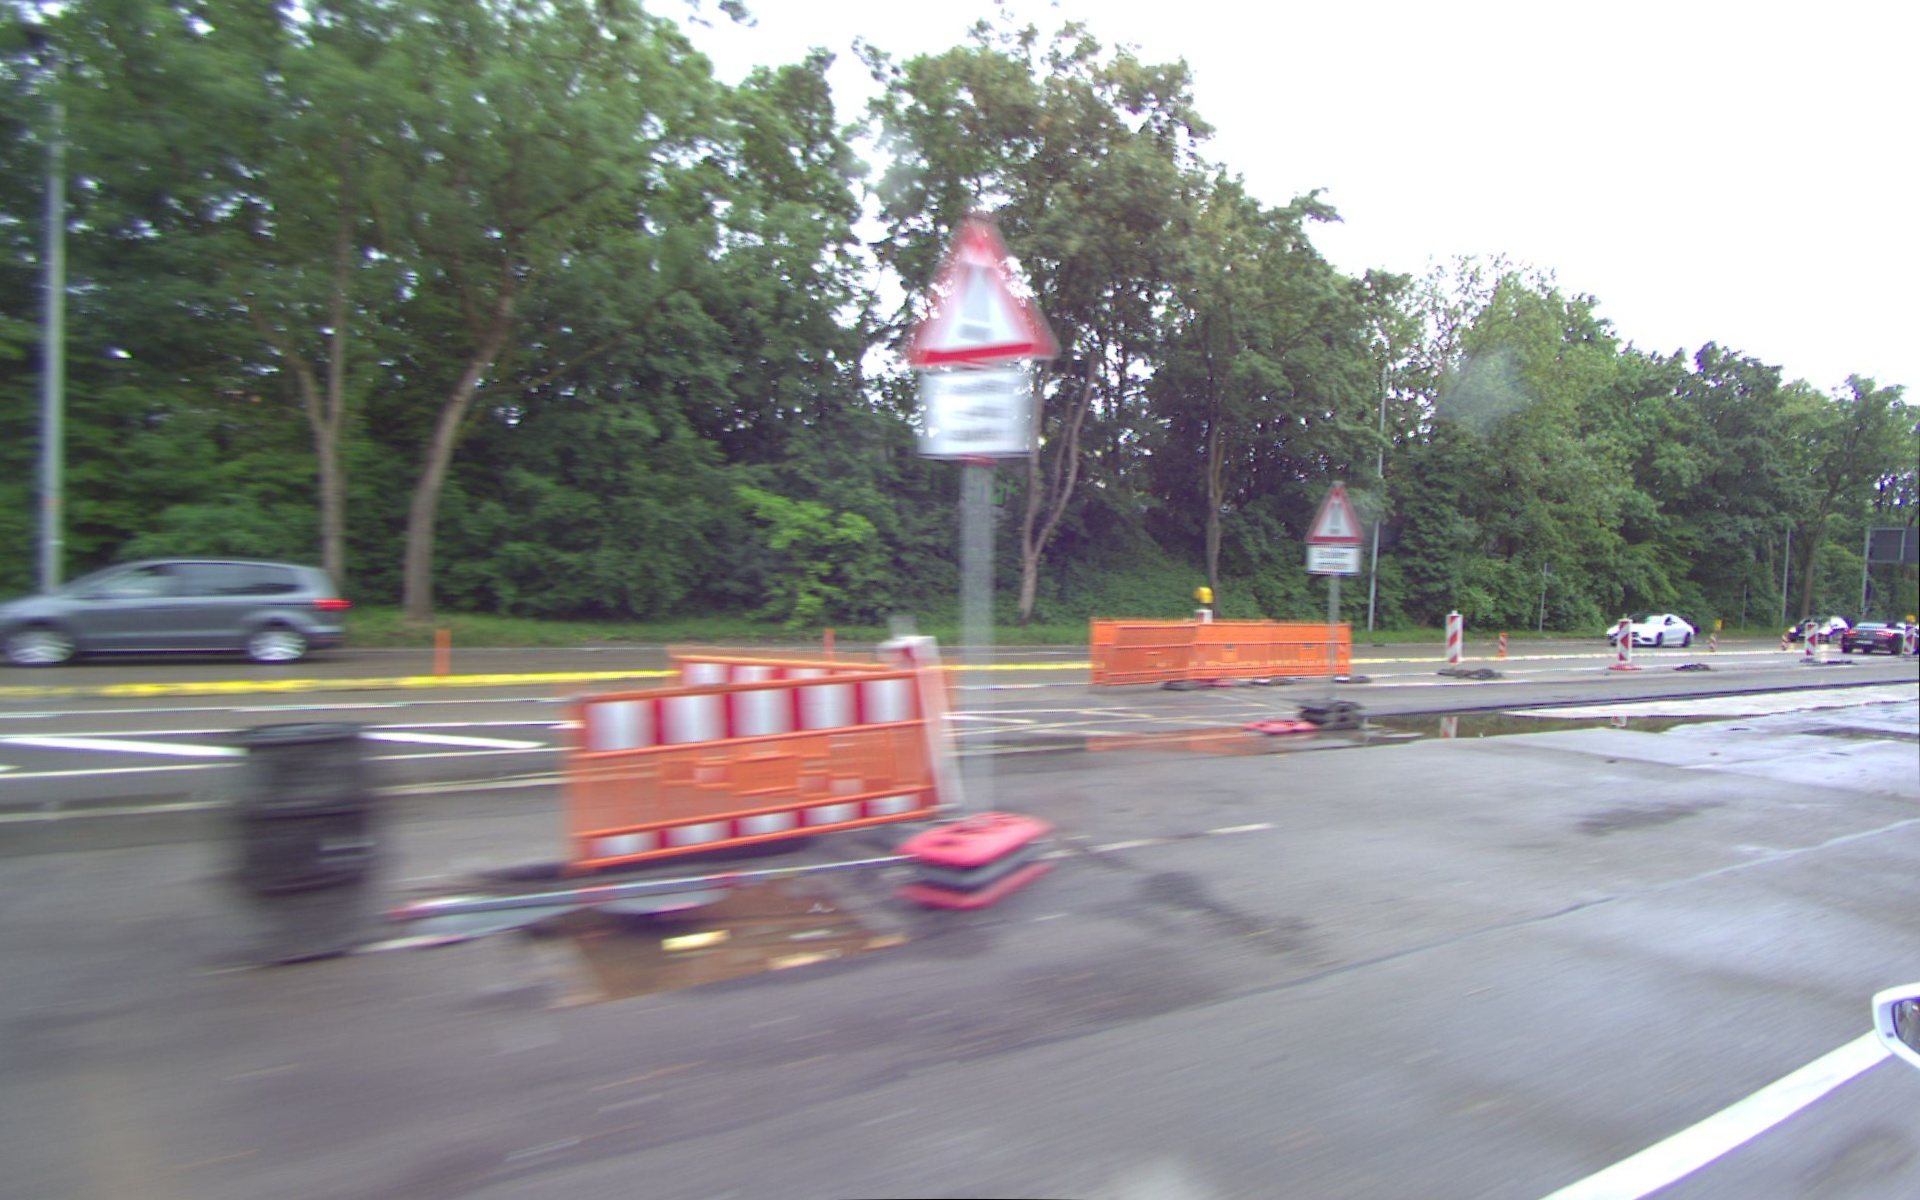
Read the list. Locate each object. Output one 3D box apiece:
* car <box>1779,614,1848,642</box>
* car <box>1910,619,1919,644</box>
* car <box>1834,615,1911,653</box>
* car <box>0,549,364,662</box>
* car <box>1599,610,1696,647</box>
[{"bbox_3d":[47.673,1.572,56.076,4.634,1.472,1.772,1,1,-35],"label":"car"},{"bbox_3d":[69.053,2.249,71.099,4.868,1.685,1.764,1,0,-36],"label":"car"},{"bbox_3d":[38.343,1.398,42.190,4.002,1.423,1.596,1,2,-36],"label":"car"},{"bbox_3d":[-12.424,0.119,16.294,4.713,1.635,1.666,1,0,-31],"label":"car"},{"bbox_3d":[29.221,1.221,42.671,4.420,1.445,1.774,1,1,-33],"label":"car"}]
